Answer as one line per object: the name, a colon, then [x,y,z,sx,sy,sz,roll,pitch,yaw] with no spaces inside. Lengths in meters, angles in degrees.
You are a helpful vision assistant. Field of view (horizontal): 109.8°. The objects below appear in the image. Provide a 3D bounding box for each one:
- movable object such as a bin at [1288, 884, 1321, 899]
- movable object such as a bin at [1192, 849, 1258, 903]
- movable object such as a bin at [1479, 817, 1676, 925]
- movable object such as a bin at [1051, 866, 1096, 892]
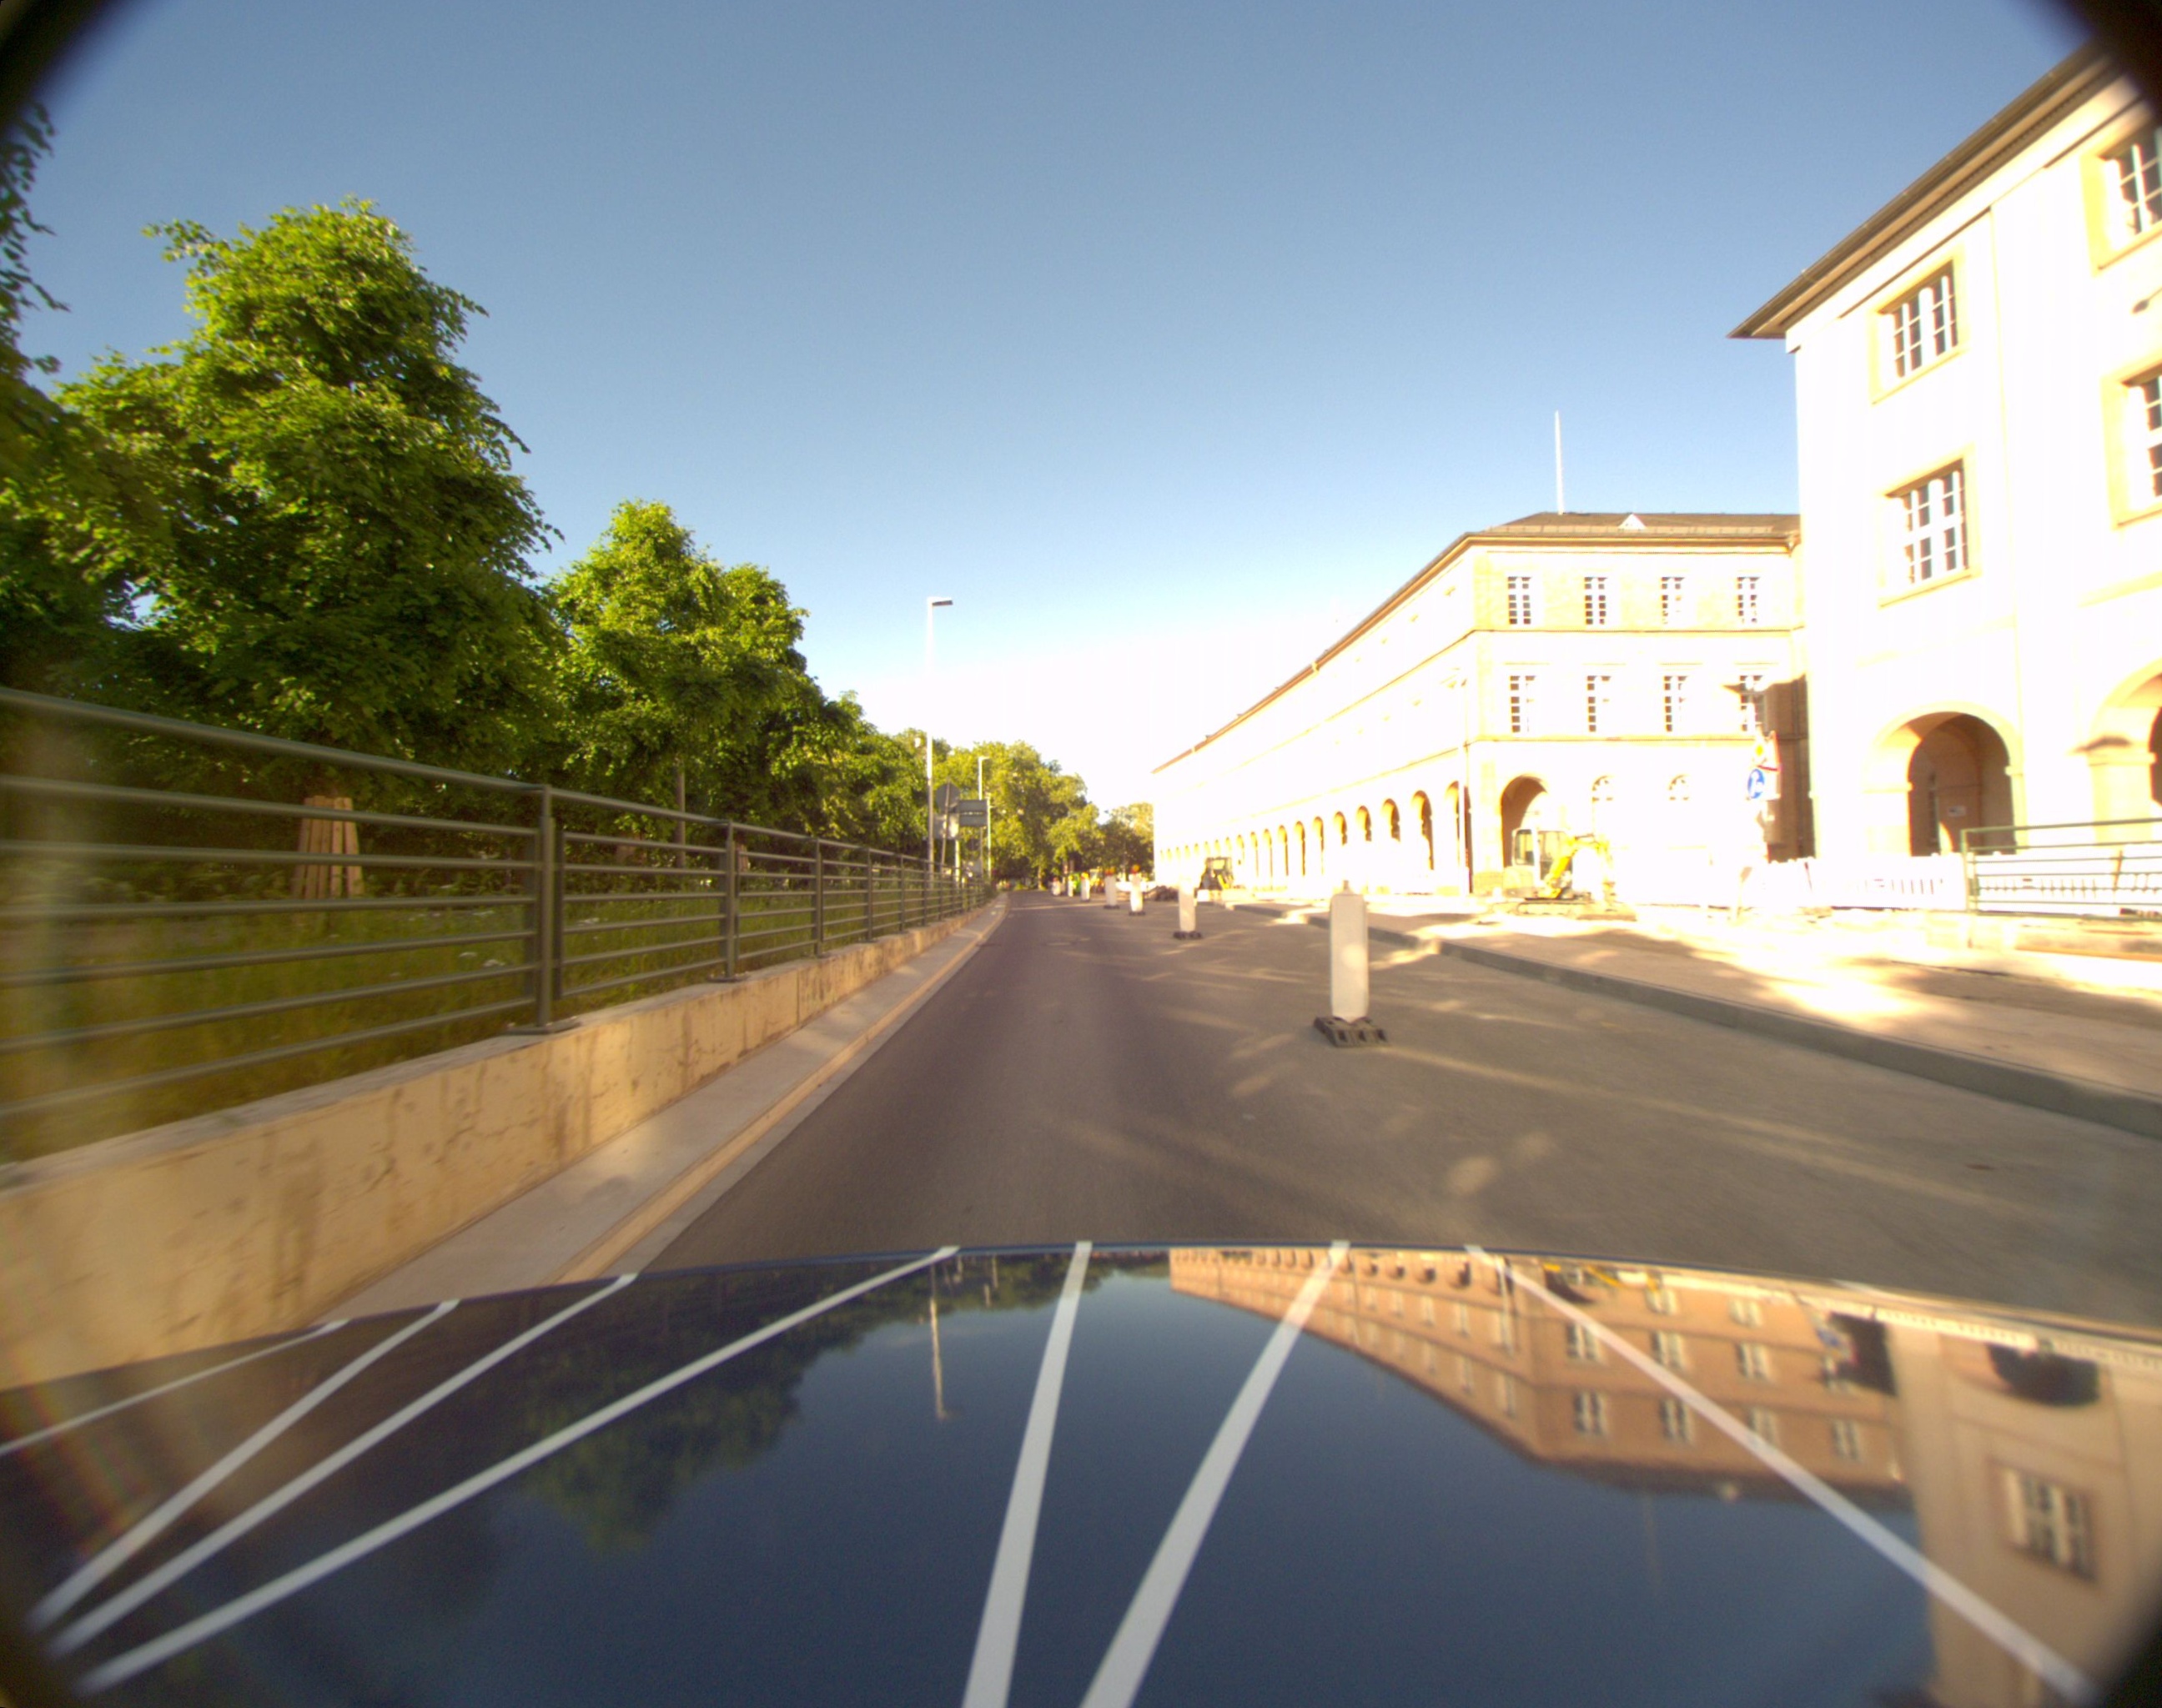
movable object such as a bin: [10.950,1.824,37.284,1.191,0.694,1.240,0,-2,-6]
movable object such as a bin: [6.902,1.078,36.821,1.796,2.437,4.535,0,-2,-7]
movable object such as a bin: [12.119,0.410,18.975,2.104,2.381,4.308,1,-1,0]
movable object such as a bin: [-0.644,2.088,62.888,3.246,2.064,2.108,0,-2,-17]
